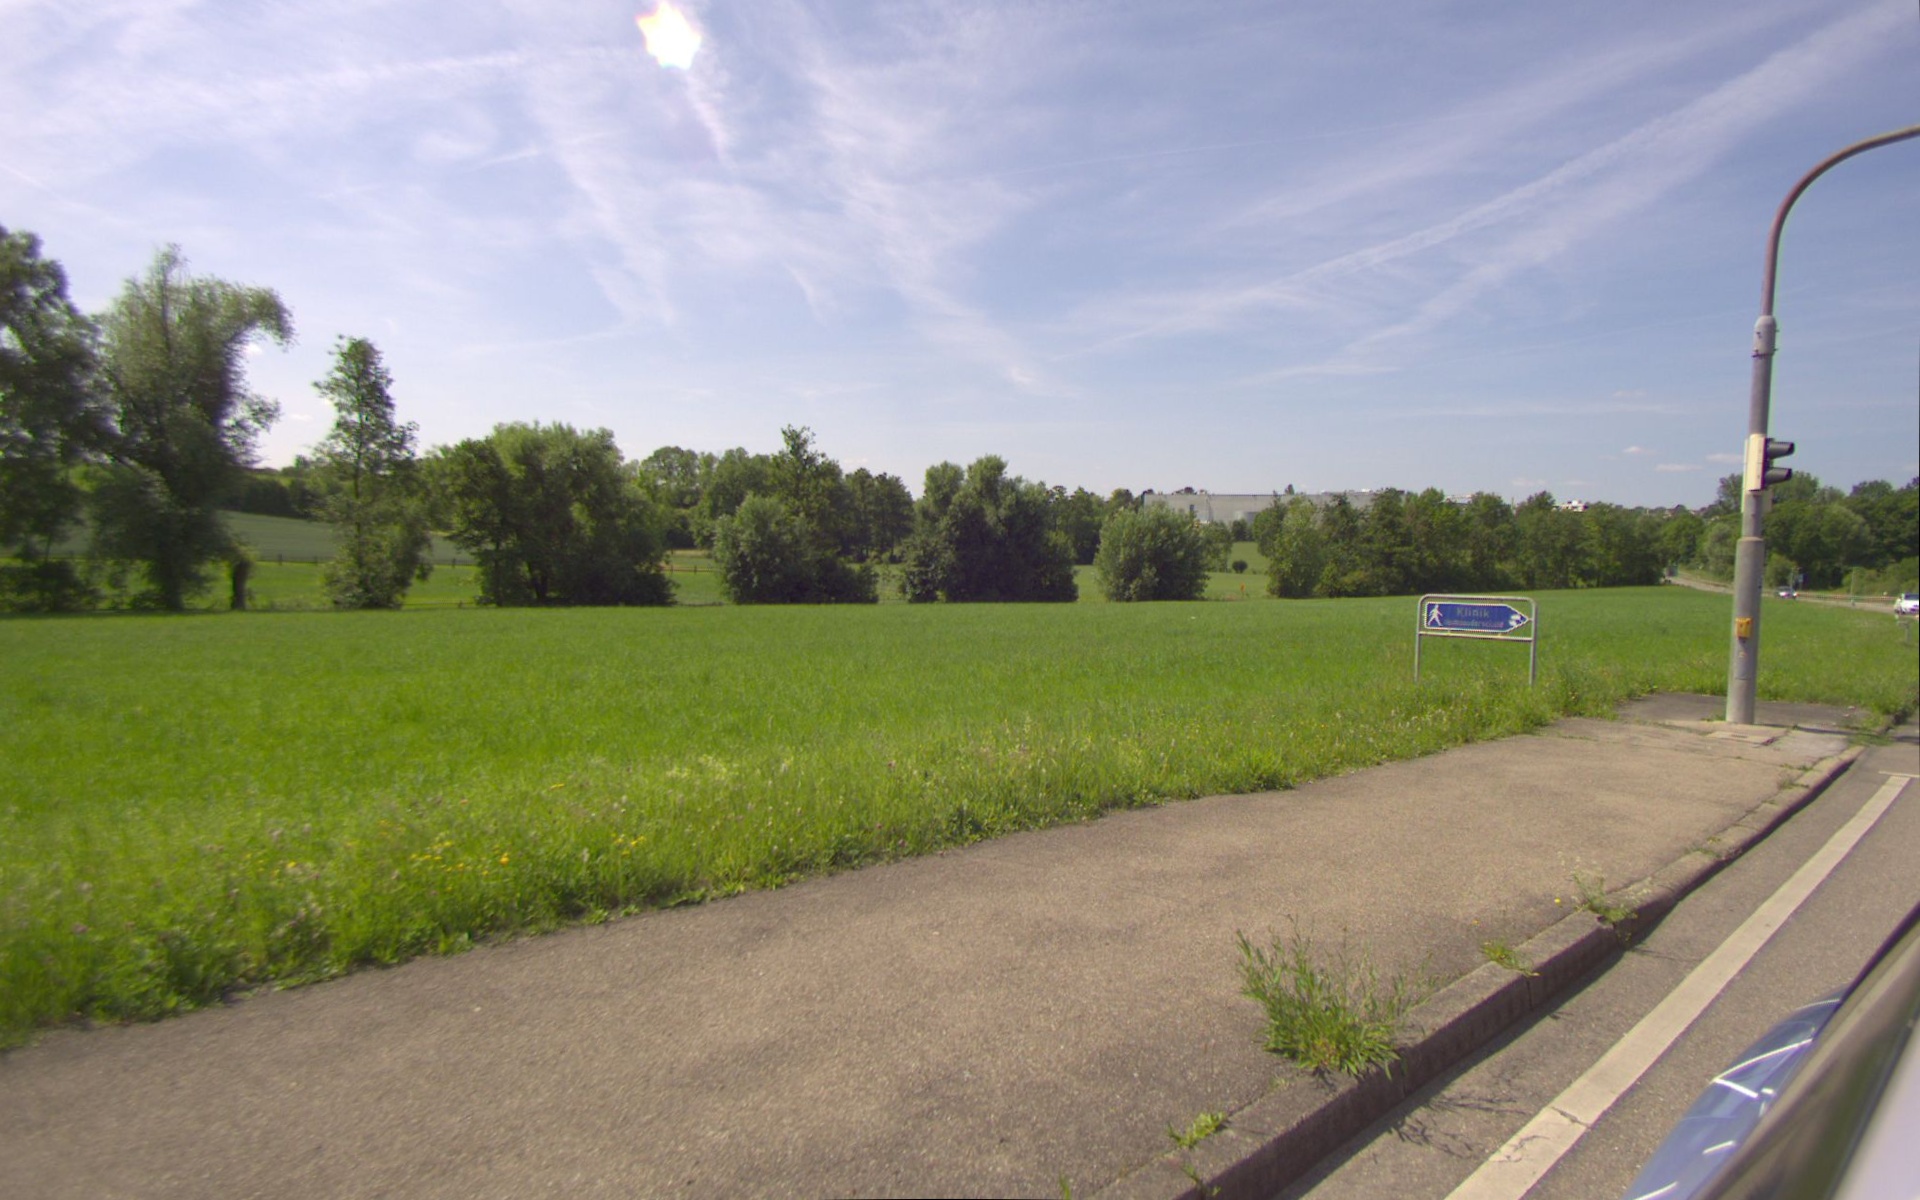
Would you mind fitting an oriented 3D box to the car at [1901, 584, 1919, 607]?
[{"bbox_3d":[67.080,-0.331,70.262,1.987,1.605,3.951,1,1,34],"label":"car"}]

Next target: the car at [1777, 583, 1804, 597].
[{"bbox_3d":[102.748,-1.263,125.241,1.984,1.605,3.956,1,1,31],"label":"car"}]
